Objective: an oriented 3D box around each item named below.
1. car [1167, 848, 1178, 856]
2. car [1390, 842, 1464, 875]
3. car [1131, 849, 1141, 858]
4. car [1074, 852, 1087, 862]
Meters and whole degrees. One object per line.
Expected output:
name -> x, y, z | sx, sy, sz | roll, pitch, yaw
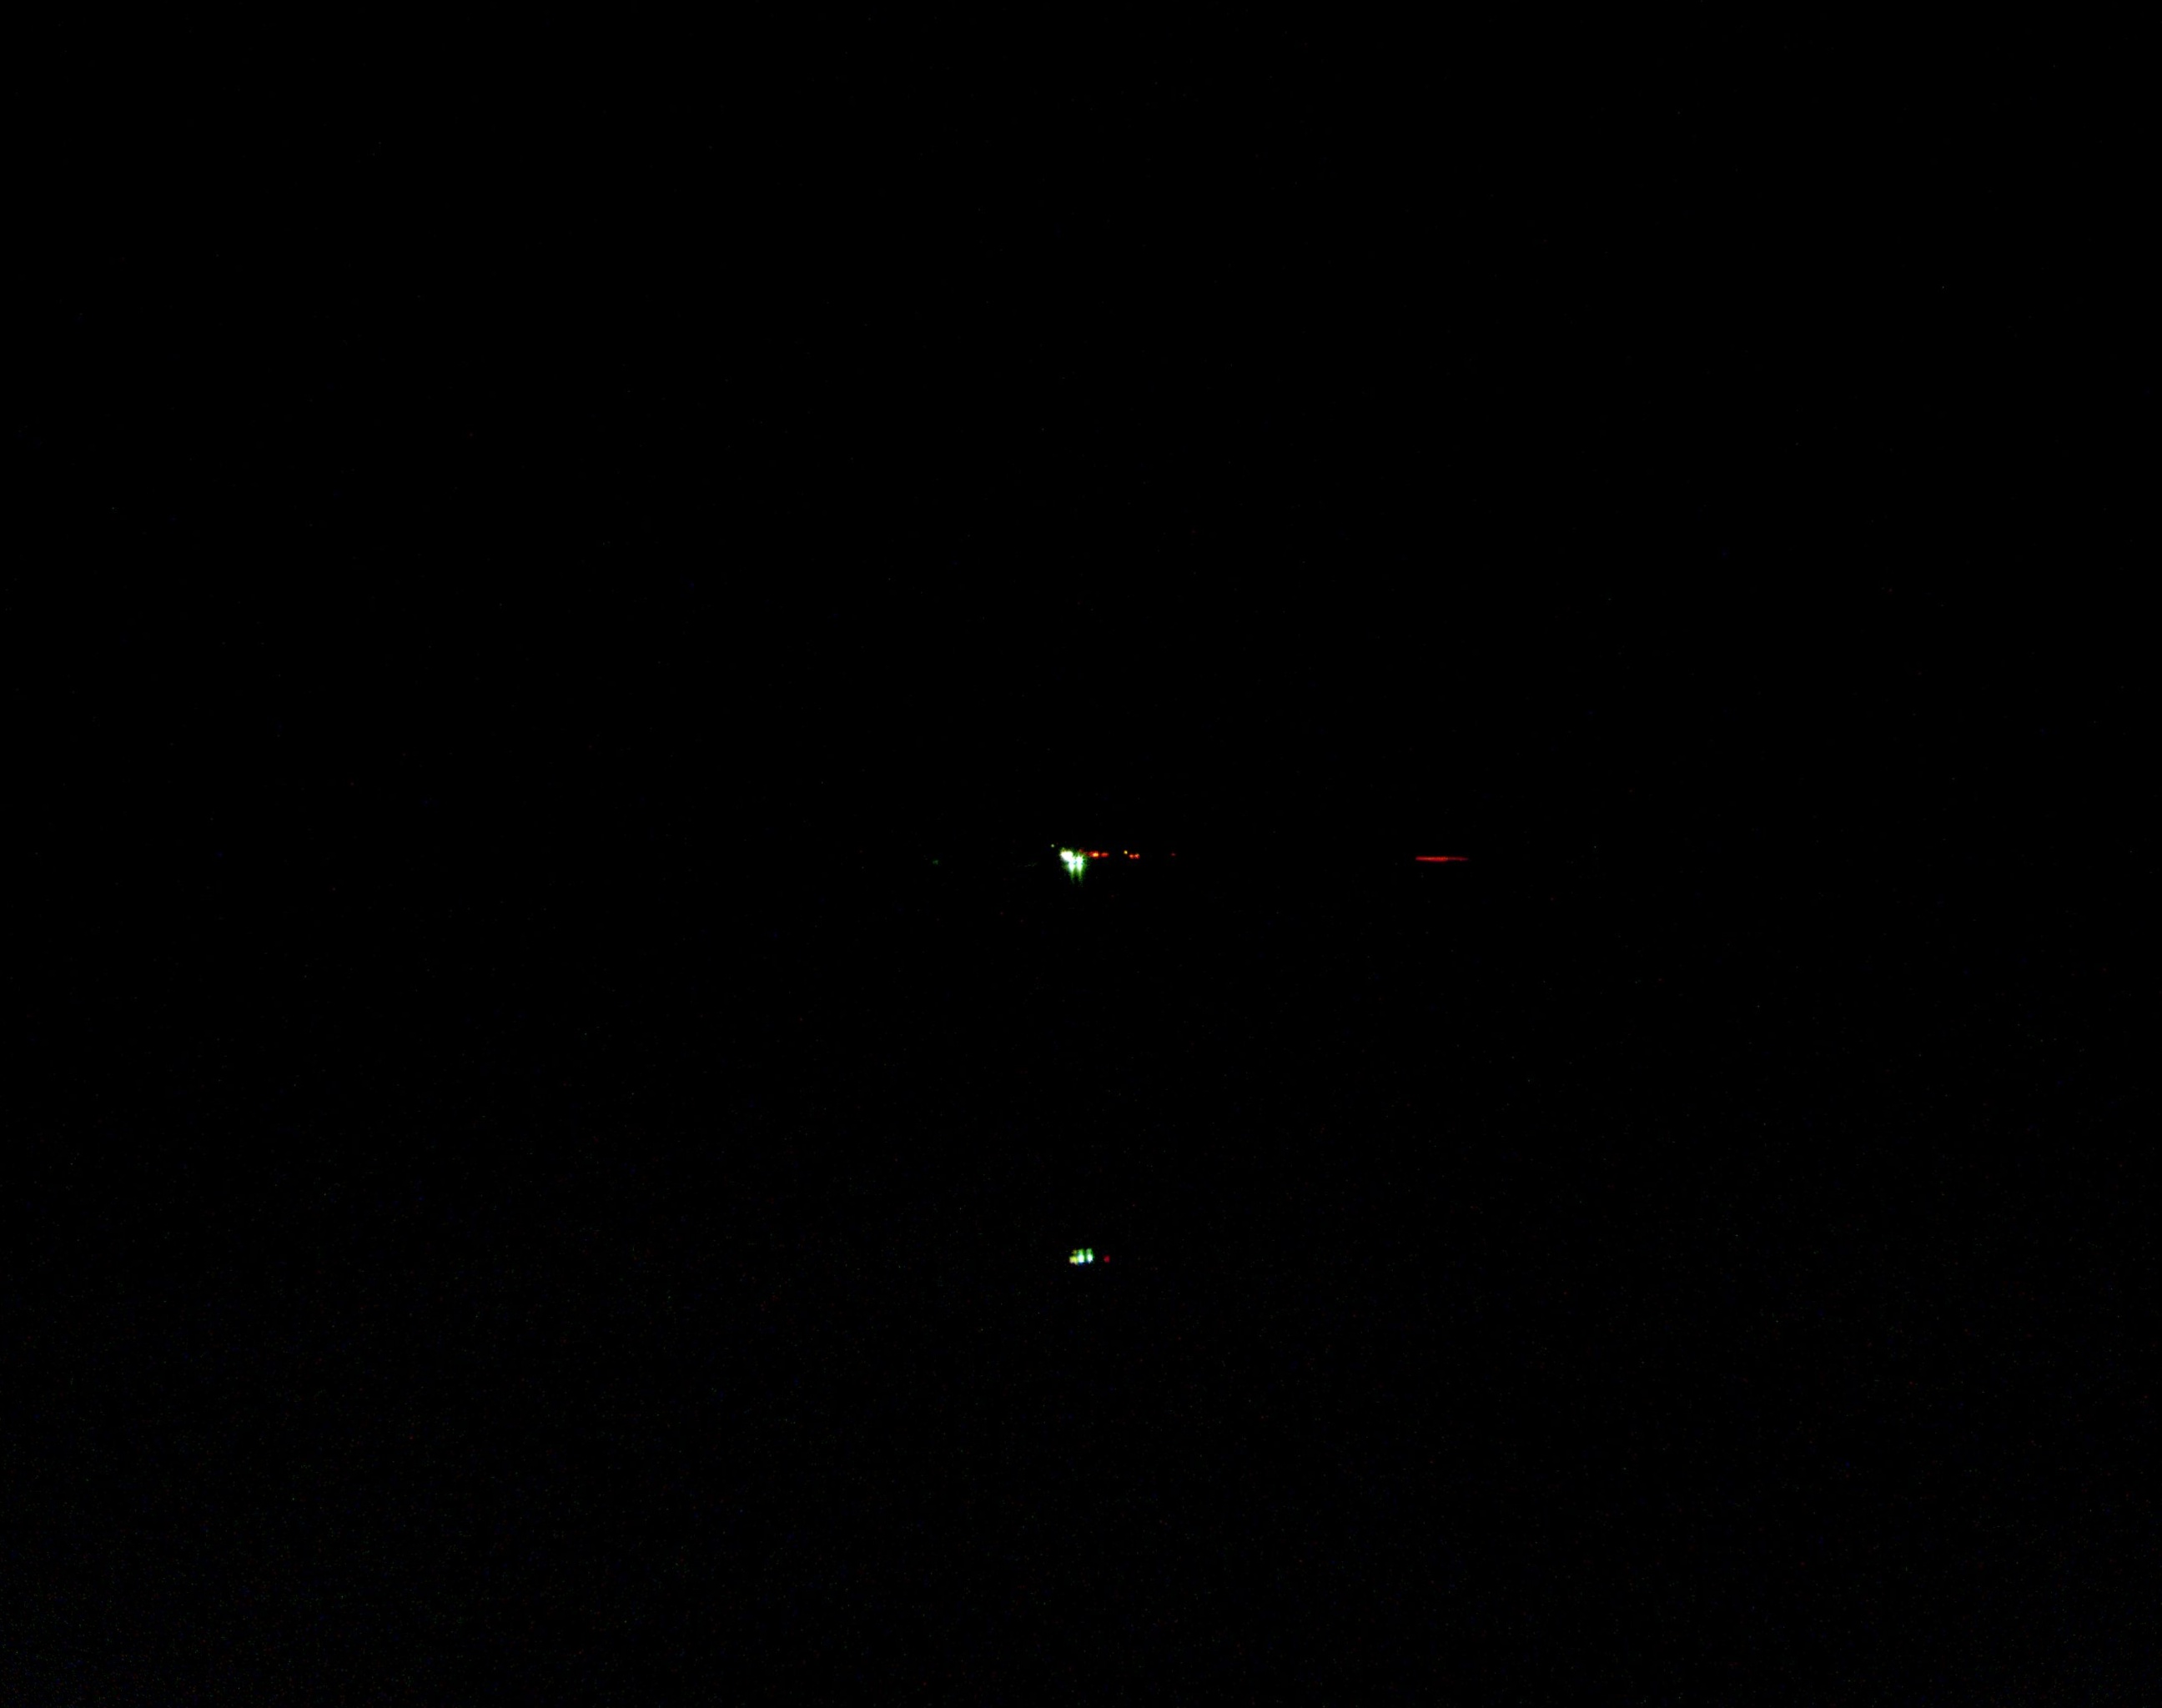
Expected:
car -> 21.390, -0.591, 178.292 | 1.998, 1.767, 5.089 | -2, 1, 1
car -> 18.328, 0.215, 40.460 | 1.998, 1.593, 4.212 | -2, 1, 0
car -> 13.954, -0.101, 192.436 | 1.999, 2.002, 4.603 | -2, 1, -2
car -> -0.104, 0.536, 132.395 | 2.154, 1.558, 4.580 | -2, 1, 0
